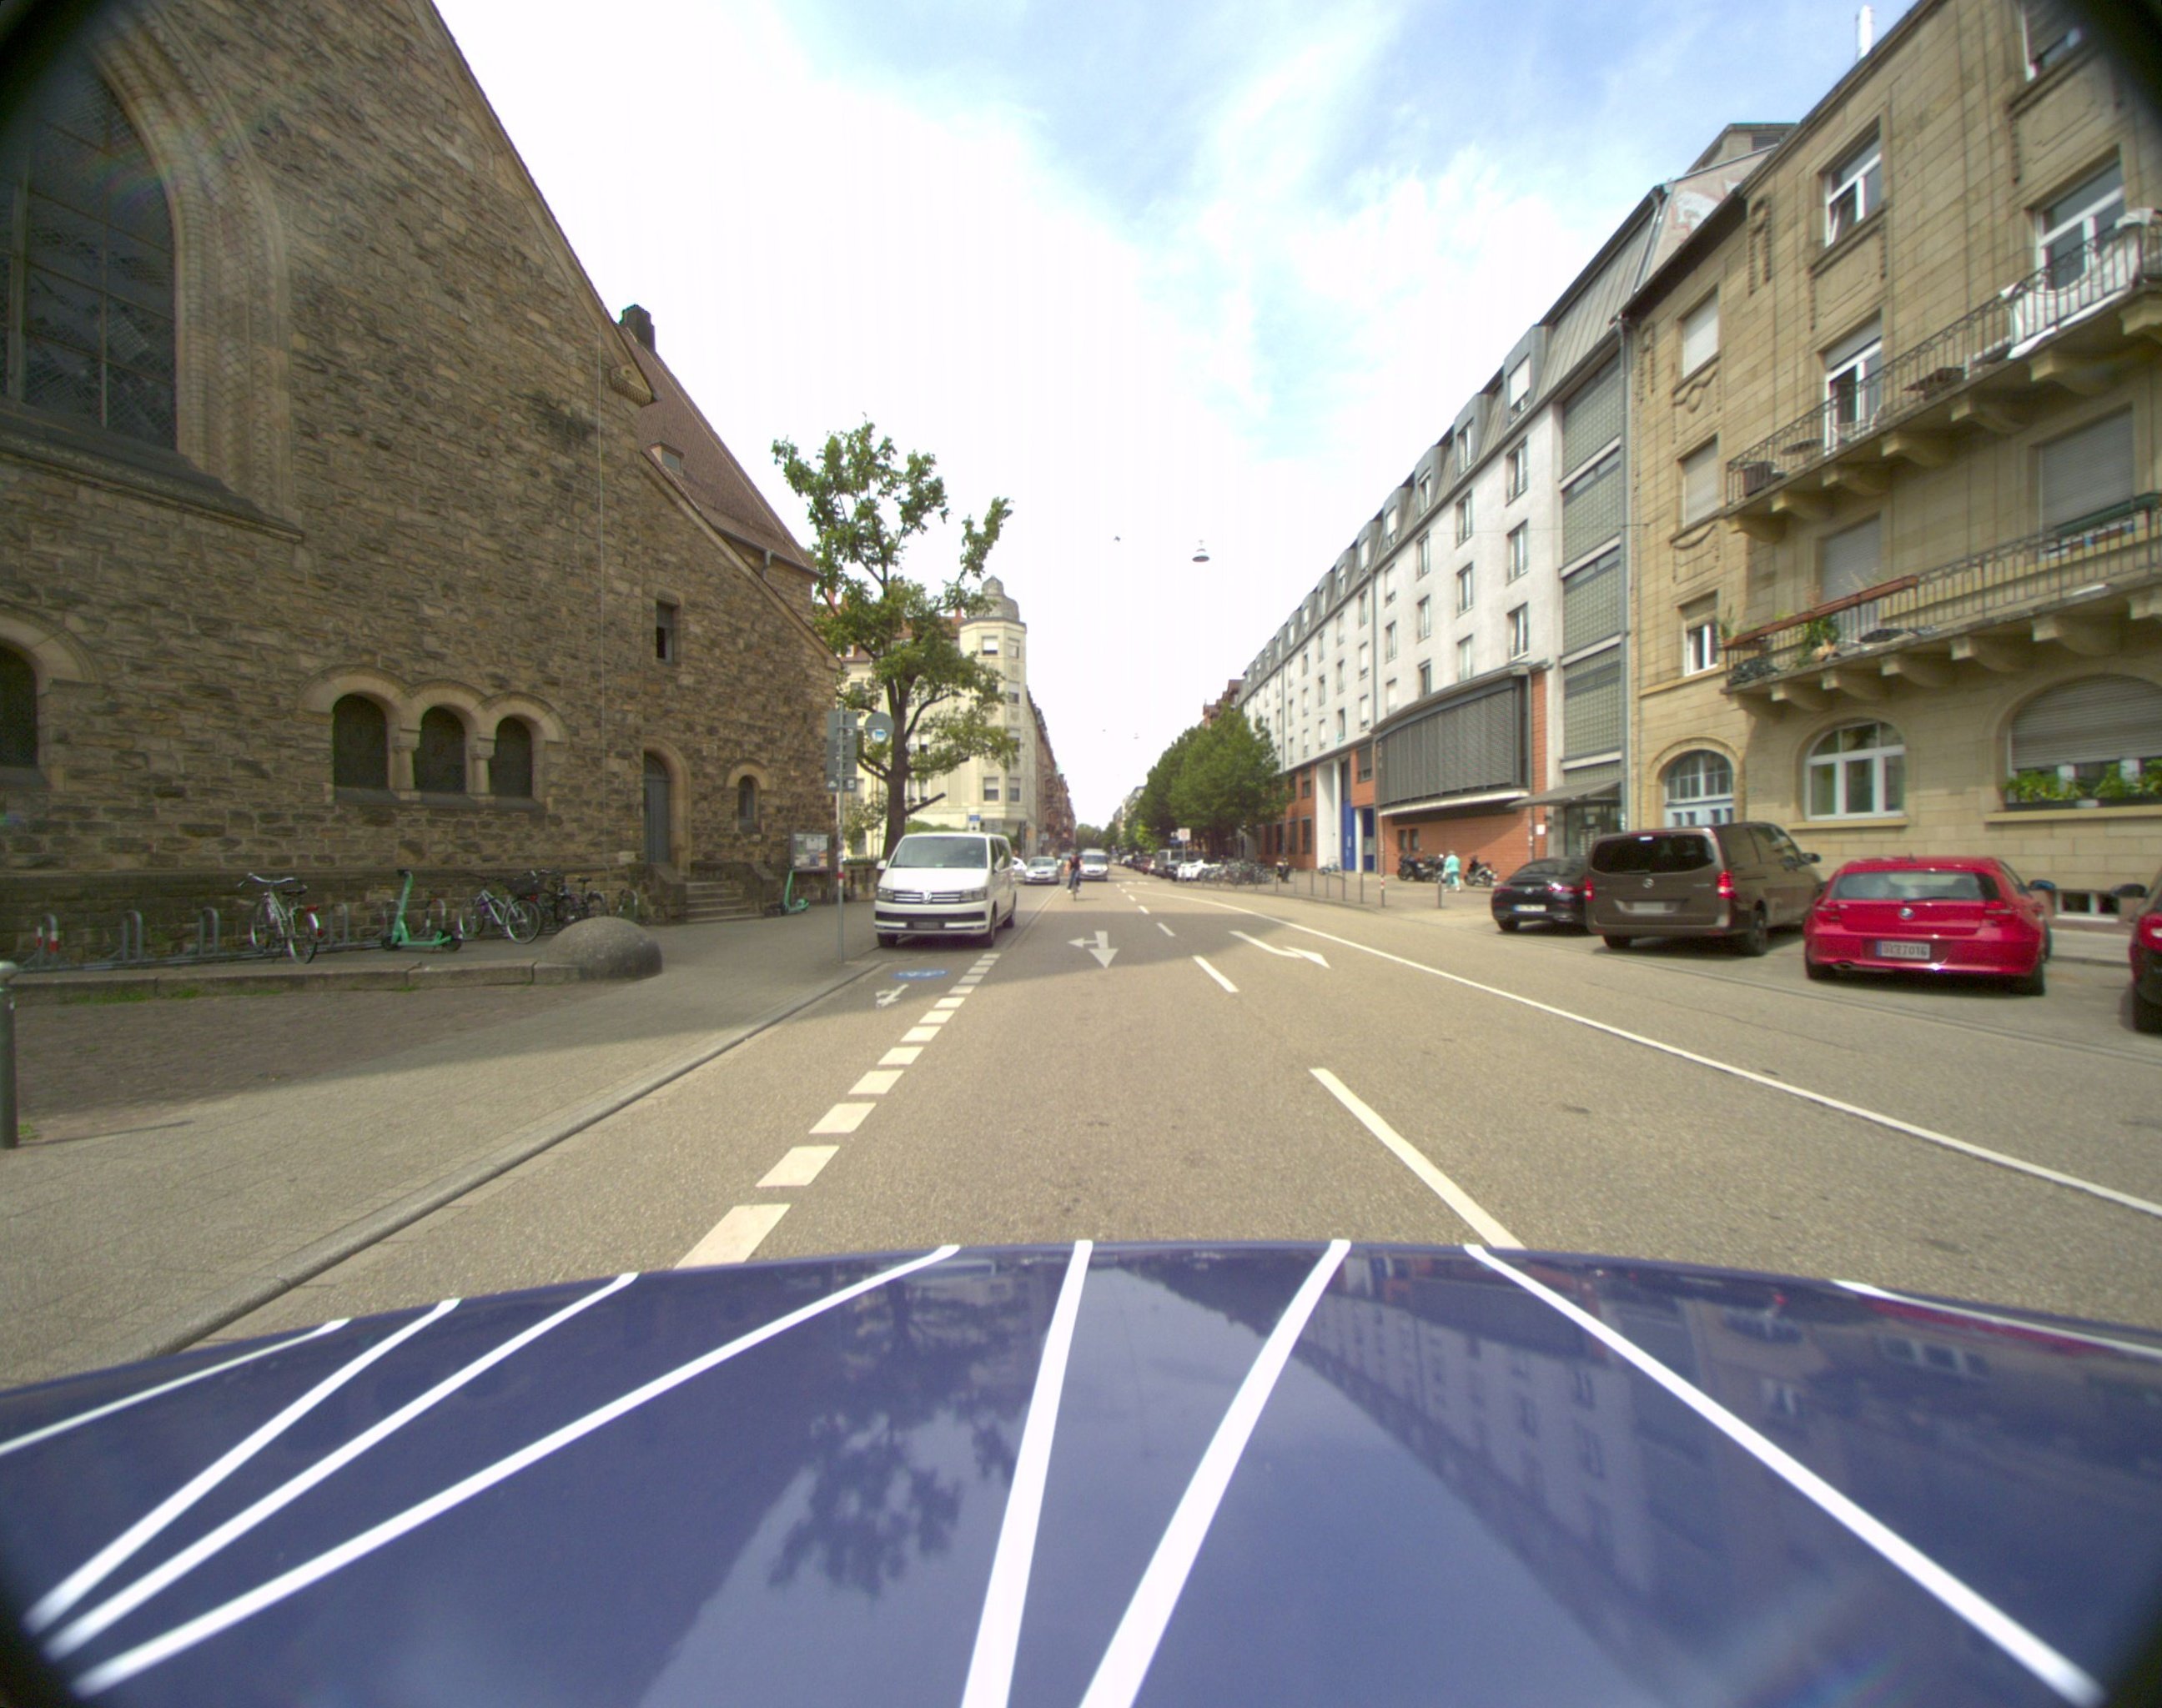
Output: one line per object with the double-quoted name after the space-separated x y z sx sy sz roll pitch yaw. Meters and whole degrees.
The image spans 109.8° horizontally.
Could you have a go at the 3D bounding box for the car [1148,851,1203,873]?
7.263 0.632 58.300 4.012 1.605 1.708 -1 -1 -32 "car"

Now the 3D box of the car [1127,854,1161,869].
7.975 0.920 96.335 4.012 1.846 1.687 -1 -1 -32 "car"

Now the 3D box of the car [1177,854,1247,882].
7.663 0.770 44.402 4.013 1.536 1.598 -1 0 -33 "car"

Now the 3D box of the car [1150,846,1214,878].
6.986 0.538 52.637 4.011 1.986 1.857 -3 1 -30 "car"

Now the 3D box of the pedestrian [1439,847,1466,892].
12.386 0.515 25.339 0.662 1.477 0.509 -1 0 -1 "pedestrian"

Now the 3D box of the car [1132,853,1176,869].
7.124 0.674 74.003 4.013 1.559 1.687 -1 0 -32 "car"

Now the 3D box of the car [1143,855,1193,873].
7.352 0.825 63.883 4.012 1.381 1.592 -1 -1 -32 "car"

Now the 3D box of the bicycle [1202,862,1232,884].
7.040 0.979 39.403 1.409 1.020 0.402 -3 0 3 "bicycle"

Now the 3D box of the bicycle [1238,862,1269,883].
8.472 0.916 37.364 1.409 1.020 0.402 -1 0 3 "bicycle"

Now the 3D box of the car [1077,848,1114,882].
0.924 0.654 46.000 1.942 1.913 4.008 -1 -1 5 "car"

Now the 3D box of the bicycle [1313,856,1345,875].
14.382 0.666 44.096 1.613 0.920 0.932 -6 -1 13 "bicycle"

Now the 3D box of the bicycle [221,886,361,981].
-10.054 0.980 9.668 1.778 1.105 0.547 0 0 20 "bicycle"

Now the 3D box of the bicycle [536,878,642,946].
-8.471 0.975 13.078 1.778 1.105 0.547 0 0 20 "bicycle"

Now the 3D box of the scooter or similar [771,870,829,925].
-6.553 0.988 17.786 0.545 1.200 1.444 0 0 14 "scooter or similar"

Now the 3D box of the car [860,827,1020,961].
-2.331 0.608 14.040 2.019 2.017 5.123 1 0 0 "car"

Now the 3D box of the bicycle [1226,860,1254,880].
8.574 0.851 40.972 1.409 1.020 0.402 -1 0 3 "bicycle"

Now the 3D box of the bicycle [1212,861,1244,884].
7.121 0.883 36.757 1.409 1.032 0.402 -3 0 3 "bicycle"

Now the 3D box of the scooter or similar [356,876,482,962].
-9.402 0.896 10.789 1.778 1.133 0.547 0 0 20 "scooter or similar"

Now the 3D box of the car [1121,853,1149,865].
8.185 0.718 114.427 4.012 1.746 1.687 -1 -1 -32 "car"

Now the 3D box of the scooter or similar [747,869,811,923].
-7.163 0.974 18.090 0.545 1.200 1.483 0 0 21 "scooter or similar"

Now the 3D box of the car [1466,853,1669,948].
9.806 0.827 15.157 4.679 1.401 1.895 -4 0 -38 "car"

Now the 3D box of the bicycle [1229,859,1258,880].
8.501 0.806 39.688 1.409 1.020 0.402 -1 0 3 "bicycle"

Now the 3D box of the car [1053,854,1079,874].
-1.287 0.906 67.950 1.853 1.661 4.008 -1 -1 5 "car"

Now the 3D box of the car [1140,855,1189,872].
7.269 0.810 66.097 4.012 1.445 1.687 -1 -1 -32 "car"

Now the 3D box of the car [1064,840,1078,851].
-1.456 -1.252 113.109 1.854 1.505 4.006 -1 -1 1 "car"

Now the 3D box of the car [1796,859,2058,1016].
10.106 0.796 8.999 4.020 1.401 1.792 -1 0 -38 "car"

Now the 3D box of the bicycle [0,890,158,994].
-10.800 0.909 8.163 1.778 0.952 0.547 2 1 20 "bicycle"

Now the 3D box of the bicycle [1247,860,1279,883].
8.661 0.831 36.118 1.409 1.020 0.402 -1 0 3 "bicycle"

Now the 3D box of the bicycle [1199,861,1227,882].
7.067 0.947 40.676 1.409 1.020 0.402 -3 0 3 "bicycle"

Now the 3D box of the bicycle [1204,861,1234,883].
7.030 0.895 38.761 1.409 1.032 0.402 -3 0 3 "bicycle"

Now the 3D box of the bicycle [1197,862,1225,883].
7.086 1.014 41.484 1.409 1.020 0.402 -3 0 3 "bicycle"

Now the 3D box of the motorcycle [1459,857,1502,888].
14.211 0.632 27.083 0.585 1.042 1.794 -2 0 2 "motorcycle"

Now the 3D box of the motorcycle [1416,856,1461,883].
14.452 0.624 30.784 0.585 1.042 1.965 -2 0 -10 "motorcycle"

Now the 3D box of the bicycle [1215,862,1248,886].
7.091 0.942 35.868 1.409 1.032 0.402 -3 0 3 "bicycle"

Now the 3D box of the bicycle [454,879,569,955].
-8.912 0.956 11.888 1.778 1.105 0.547 0 0 20 "bicycle"

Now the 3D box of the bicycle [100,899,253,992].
-10.504 1.027 8.821 1.778 0.951 0.547 0 0 20 "bicycle"

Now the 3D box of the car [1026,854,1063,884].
-1.853 0.740 39.660 1.759 1.460 4.418 0 0 0 "car"

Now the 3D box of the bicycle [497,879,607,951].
-8.680 0.976 12.461 1.771 1.105 0.547 0 0 20 "bicycle"

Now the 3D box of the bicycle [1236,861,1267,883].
8.502 0.900 37.900 1.409 1.020 0.402 -1 0 3 "bicycle"

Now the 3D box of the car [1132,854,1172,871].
7.777 0.915 83.212 4.052 1.846 1.687 -1 -1 -32 "car"

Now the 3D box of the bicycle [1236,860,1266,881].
8.573 0.837 38.384 1.409 1.020 0.402 -1 0 3 "bicycle"

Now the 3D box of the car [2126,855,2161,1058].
10.207 0.771 6.331 4.004 1.494 1.627 -1 0 -34 "car"

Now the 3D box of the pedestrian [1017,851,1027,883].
-3.105 0.685 40.135 0.468 1.725 0.410 0 0 0 "pedestrian"

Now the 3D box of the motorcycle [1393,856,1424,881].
14.298 0.619 33.204 0.585 1.042 1.657 -2 0 0 "motorcycle"

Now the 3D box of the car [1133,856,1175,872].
7.436 1.020 76.888 4.012 1.558 1.687 -1 -1 -32 "car"

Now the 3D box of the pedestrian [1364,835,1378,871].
16.301 -0.075 42.765 0.729 2.002 0.783 0 0 20 "pedestrian"

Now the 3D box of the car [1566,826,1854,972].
10.245 0.566 12.241 5.280 1.899 2.116 -1 0 -33 "car"

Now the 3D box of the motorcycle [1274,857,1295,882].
9.791 0.734 36.659 0.585 1.166 1.780 -2 0 3 "motorcycle"

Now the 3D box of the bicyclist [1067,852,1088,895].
-0.112 0.653 25.985 0.649 1.408 1.094 -1 0 2 "bicyclist"

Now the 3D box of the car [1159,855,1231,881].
7.037 0.842 46.907 4.324 1.460 1.713 -1 0 -33 "car"

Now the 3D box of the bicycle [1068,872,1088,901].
-0.088 1.100 25.972 0.586 0.927 1.783 -1 -1 2 "bicycle"

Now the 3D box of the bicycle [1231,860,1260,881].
8.496 0.836 39.203 1.409 1.020 0.402 -1 0 3 "bicycle"
